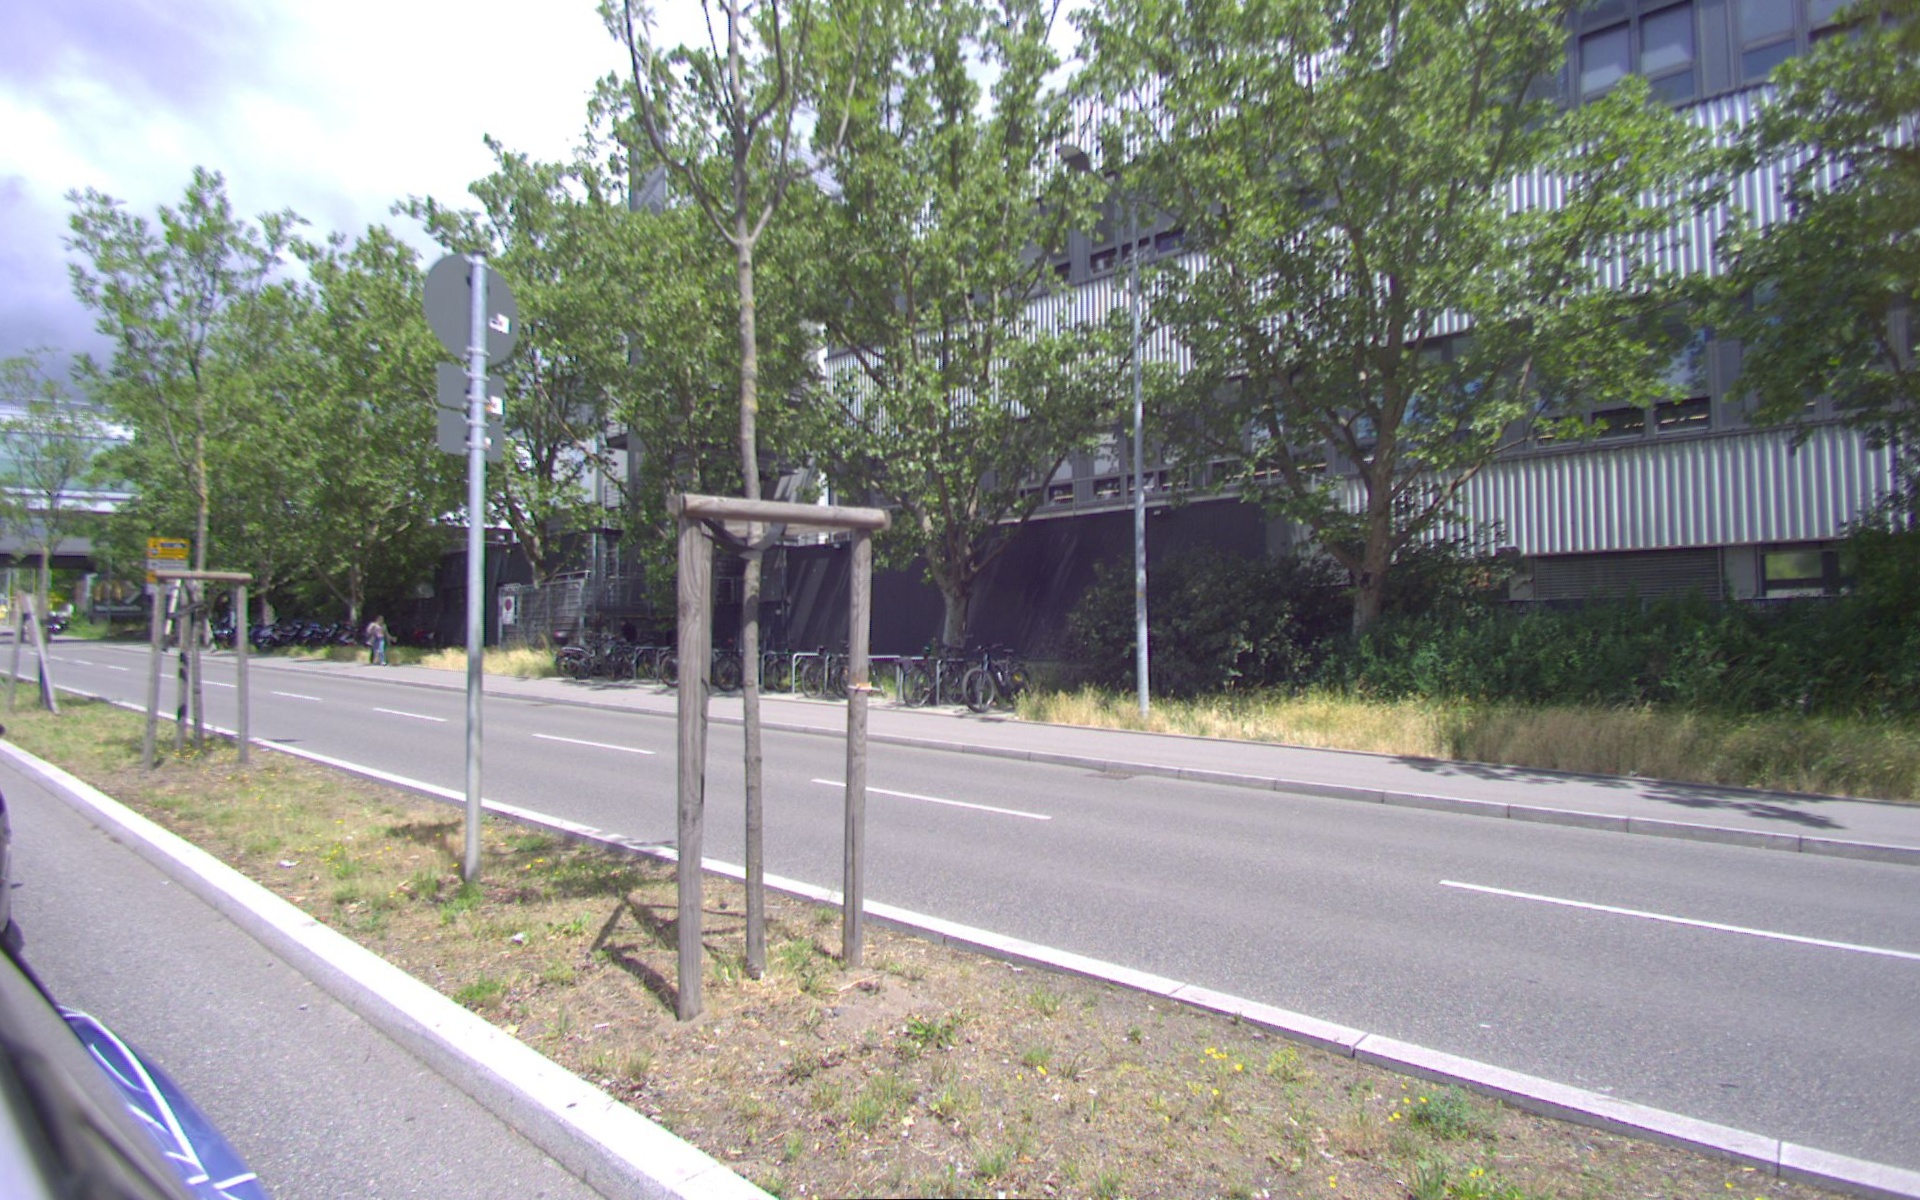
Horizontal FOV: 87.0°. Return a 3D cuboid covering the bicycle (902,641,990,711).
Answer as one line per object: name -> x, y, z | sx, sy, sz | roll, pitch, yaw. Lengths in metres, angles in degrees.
bicycle -> -0.221, 1.331, 18.121 | 0.381, 1.137, 1.968 | -2, -1, 39

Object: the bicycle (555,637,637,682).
bicycle -> -9.547, 1.546, 26.633 | 0.382, 1.119, 2.101 | -2, -1, 43

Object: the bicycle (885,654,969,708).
bicycle -> -0.598, 1.516, 19.222 | 0.381, 0.897, 1.968 | -2, -1, 39

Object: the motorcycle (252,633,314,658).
motorcycle -> -28.455, 1.907, 42.554 | 0.534, 0.976, 2.105 | -2, -1, 41

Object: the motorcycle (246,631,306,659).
motorcycle -> -29.490, 1.932, 43.663 | 0.534, 1.146, 2.105 | -2, -1, 41

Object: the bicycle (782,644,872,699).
bicycle -> -2.744, 1.474, 21.137 | 0.382, 1.038, 2.101 | -2, -1, 43

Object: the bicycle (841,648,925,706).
bicycle -> -1.471, 1.472, 19.708 | 0.381, 1.005, 1.968 | -2, -1, 39

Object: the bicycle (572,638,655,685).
bicycle -> -8.906, 1.565, 26.087 | 0.382, 1.119, 2.101 | -2, -1, 43

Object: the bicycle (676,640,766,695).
bicycle -> -5.334, 1.483, 22.668 | 0.382, 1.119, 2.101 | -2, -1, 43

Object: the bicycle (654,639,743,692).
bicycle -> -5.991, 1.478, 23.265 | 0.382, 1.119, 2.101 | -2, -1, 43

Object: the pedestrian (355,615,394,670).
pedestrian -> -18.756, 1.350, 32.430 | 0.672, 1.734, 0.888 | -1, -2, 41

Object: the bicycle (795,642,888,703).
bicycle -> -2.341, 1.430, 20.229 | 0.382, 1.104, 2.101 | -2, -1, 43

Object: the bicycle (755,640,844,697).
bicycle -> -3.413, 1.451, 21.752 | 0.382, 1.119, 2.101 | -2, -1, 43

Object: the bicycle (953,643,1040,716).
bicycle -> 0.659, 1.335, 17.398 | 0.381, 1.137, 1.968 | -2, -1, 39

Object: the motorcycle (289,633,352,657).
motorcycle -> -25.882, 1.818, 41.009 | 0.534, 0.892, 2.105 | -2, -1, 41

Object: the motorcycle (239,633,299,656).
motorcycle -> -30.124, 1.929, 44.117 | 0.534, 0.976, 2.105 | -2, -1, 41

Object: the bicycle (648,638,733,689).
bicycle -> -6.482, 1.506, 24.415 | 0.382, 1.119, 2.101 | -2, -1, 43

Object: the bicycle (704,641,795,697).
bicycle -> -4.544, 1.474, 22.018 | 0.382, 1.119, 2.101 | -2, -1, 43

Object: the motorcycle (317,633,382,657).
motorcycle -> -23.960, 1.756, 39.751 | 0.534, 0.905, 2.105 | -2, -1, 41

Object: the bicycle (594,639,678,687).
bicycle -> -8.161, 1.561, 25.539 | 0.382, 1.119, 2.101 | -2, -1, 43

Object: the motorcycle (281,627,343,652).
motorcycle -> -26.692, 1.632, 41.710 | 0.534, 0.976, 2.105 | -2, -1, 41
